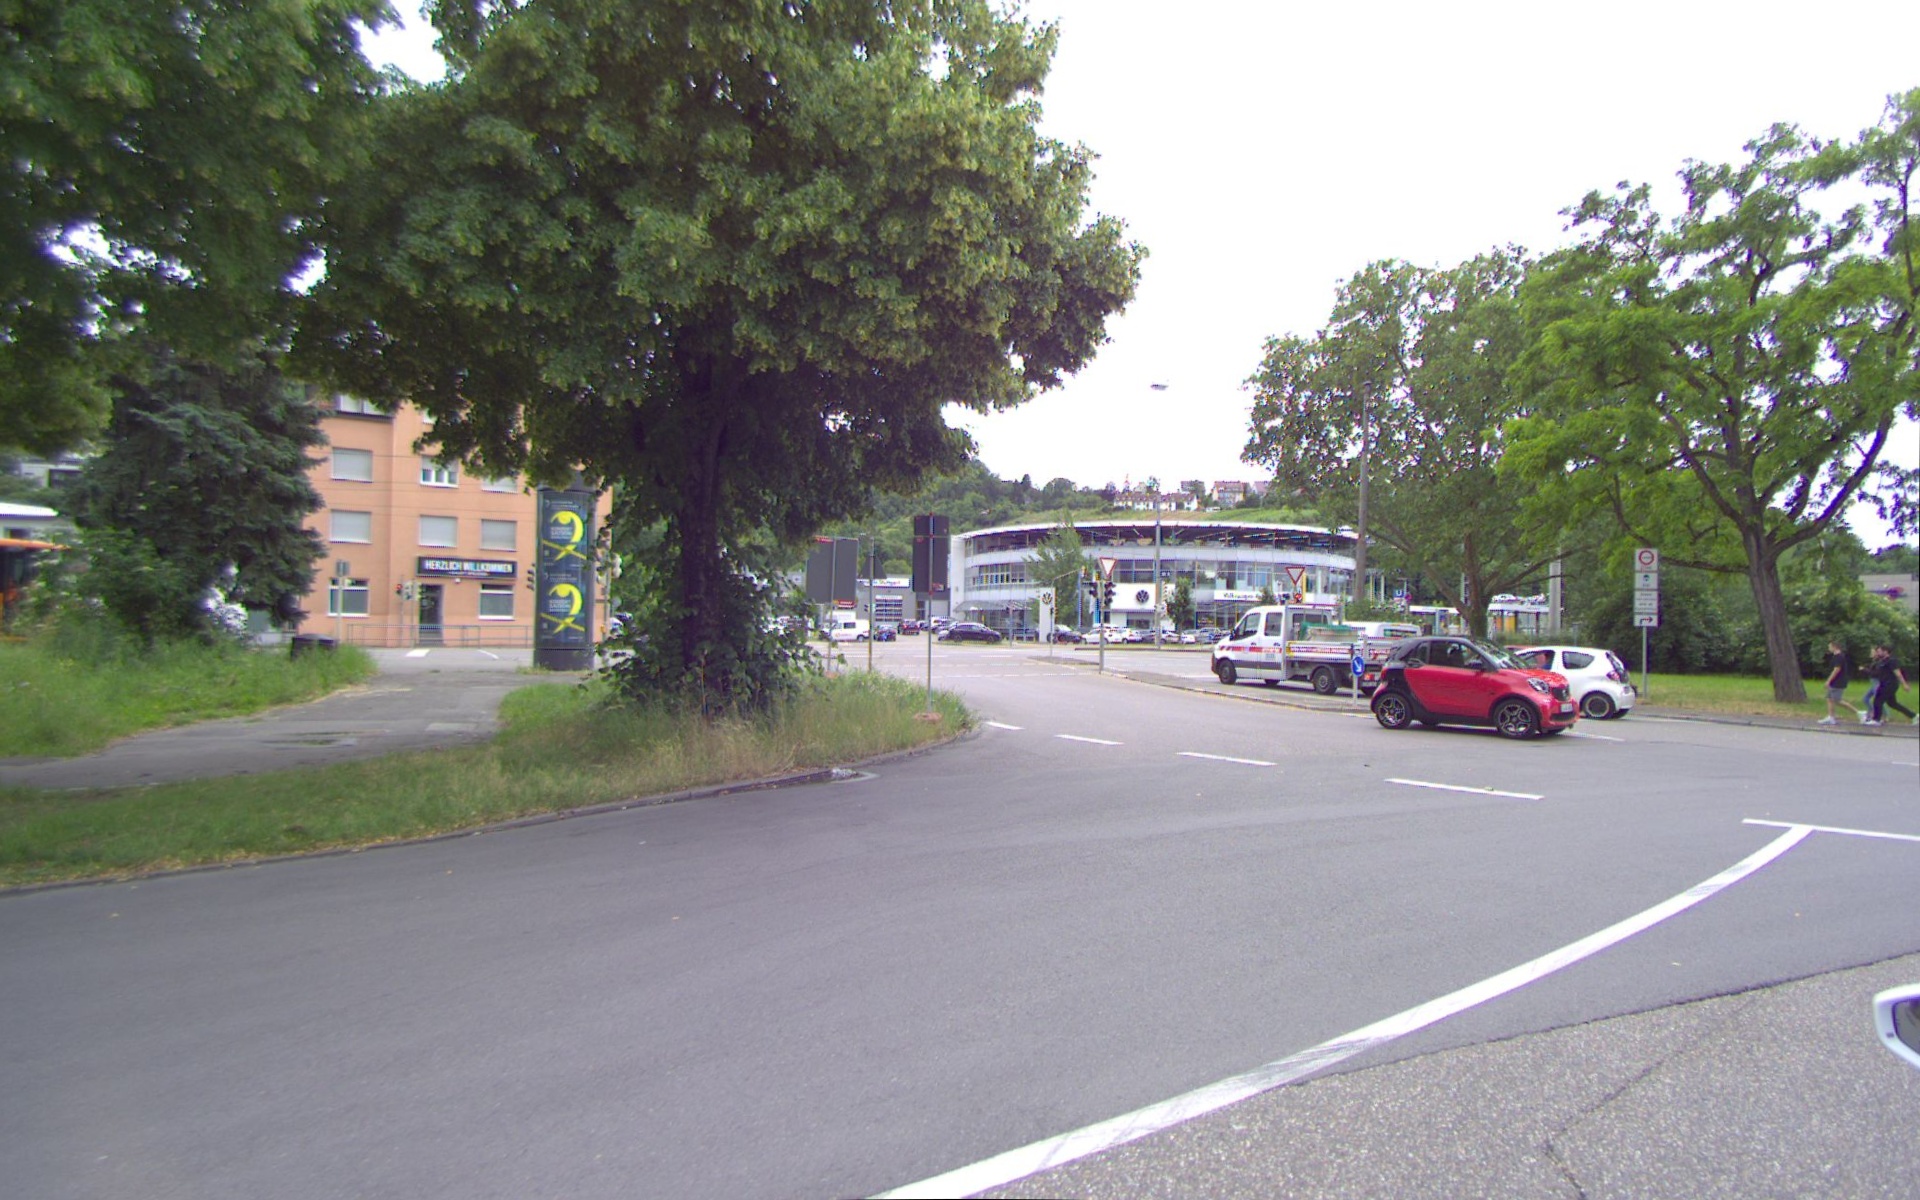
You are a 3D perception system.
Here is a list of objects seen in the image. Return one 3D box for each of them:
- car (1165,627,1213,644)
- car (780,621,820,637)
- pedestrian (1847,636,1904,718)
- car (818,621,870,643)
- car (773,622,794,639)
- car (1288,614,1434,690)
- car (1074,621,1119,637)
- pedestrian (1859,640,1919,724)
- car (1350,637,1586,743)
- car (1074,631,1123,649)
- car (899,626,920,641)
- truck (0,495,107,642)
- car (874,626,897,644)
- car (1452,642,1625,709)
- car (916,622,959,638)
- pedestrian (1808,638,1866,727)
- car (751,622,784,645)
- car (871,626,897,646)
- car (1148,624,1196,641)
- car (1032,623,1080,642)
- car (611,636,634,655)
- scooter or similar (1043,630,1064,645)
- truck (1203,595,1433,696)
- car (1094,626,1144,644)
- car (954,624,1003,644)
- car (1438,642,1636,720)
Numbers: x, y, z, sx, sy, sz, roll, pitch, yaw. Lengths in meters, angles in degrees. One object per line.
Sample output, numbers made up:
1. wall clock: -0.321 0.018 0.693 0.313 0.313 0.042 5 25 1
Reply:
1. car: 21.634 3.349 95.068 1.783 1.511 4.163 2 -2 -42
2. car: -16.514 2.993 103.659 4.016 1.553 1.773 1 -1 -9
3. pedestrian: 20.233 1.676 22.209 0.688 1.763 0.781 1 -1 -32
4. car: -10.570 2.888 91.572 4.619 1.929 1.773 1 -1 -9
5. car: -16.562 2.858 94.290 1.745 1.553 4.080 1 -1 -13
6. car: 12.132 1.535 30.777 1.960 2.135 4.754 1 -1 -10
7. car: 13.779 2.915 101.184 4.141 1.511 1.792 0 -2 32
8. pedestrian: 19.863 1.724 21.483 0.688 1.737 0.781 1 -1 -32
9. car: 8.100 1.355 16.154 1.704 1.484 2.985 2 -2 -41
10. car: 12.090 3.506 87.849 1.764 1.520 3.970 2 -2 -44
11. car: -5.517 3.615 109.619 1.744 1.553 4.083 1 -1 -11
12. truck: -27.739 -0.993 24.292 10.280 3.573 2.781 3 -2 -25
13. car: -7.069 3.296 95.123 1.744 1.553 4.083 1 -1 -11
14. car: 14.195 1.815 24.806 1.622 1.476 3.410 3 -2 -24
15. car: -2.584 3.410 114.425 4.726 1.826 1.772 1 -1 -11
16. pedestrian: 19.060 1.777 21.836 0.688 1.882 0.781 1 -1 -32
17. car: -15.867 2.734 82.551 1.839 1.841 4.379 2 -2 -22
18. car: -7.236 3.398 95.393 1.965 1.840 3.991 1 -1 -12
19. car: 19.802 3.043 93.810 1.783 1.511 4.163 2 -2 -42
20. car: 8.155 2.777 85.349 3.828 1.520 1.765 0 -2 44
21. car: -29.167 3.916 86.817 1.756 1.539 3.616 2 -1 -17
22. scooter or similar: 7.653 3.057 82.228 1.642 1.193 0.467 1 -1 -7
23. truck: 9.540 1.184 27.449 2.398 2.429 5.988 1 -2 -26
24. car: 14.081 3.127 89.162 1.783 1.511 4.163 2 -2 -42
25. car: 1.462 2.699 79.525 3.803 1.520 1.776 1 -1 3
26. car: 12.283 1.657 21.476 1.634 1.451 3.385 2 -2 -45
